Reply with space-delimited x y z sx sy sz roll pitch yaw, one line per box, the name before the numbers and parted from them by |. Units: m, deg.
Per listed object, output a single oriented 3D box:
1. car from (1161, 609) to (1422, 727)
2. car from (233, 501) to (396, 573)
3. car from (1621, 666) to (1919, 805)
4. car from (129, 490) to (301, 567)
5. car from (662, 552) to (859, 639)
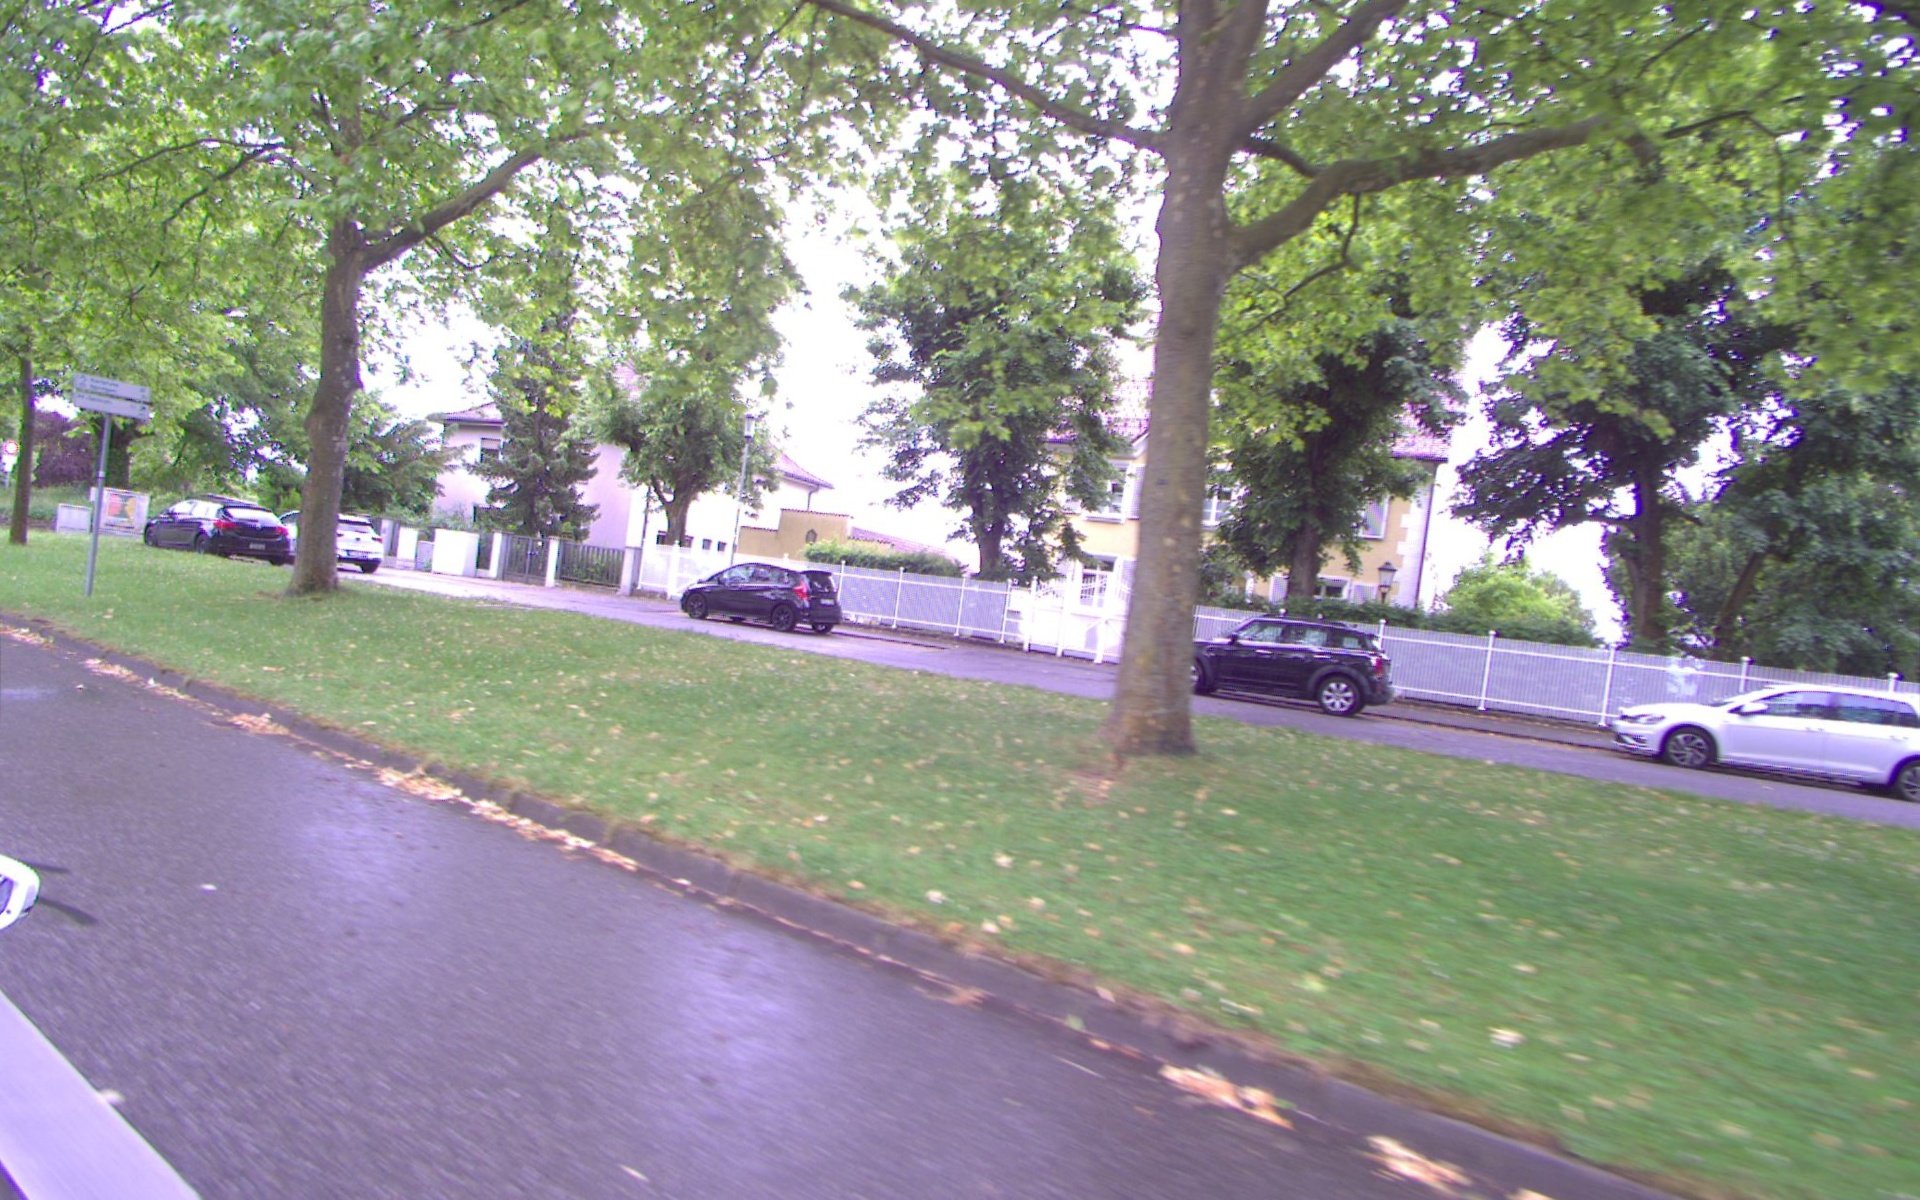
car | 5.910 1.201 17.969 4.053 1.488 1.999 6 -2 27
car | -17.562 -1.724 27.326 4.350 1.490 1.847 6 1 30
car | 12.359 1.991 14.816 4.053 1.465 1.999 6 -2 27
car | -18.606 -1.786 25.083 4.521 1.490 1.765 6 1 31
car | -4.728 -0.113 23.742 4.281 1.488 1.765 6 -2 27
